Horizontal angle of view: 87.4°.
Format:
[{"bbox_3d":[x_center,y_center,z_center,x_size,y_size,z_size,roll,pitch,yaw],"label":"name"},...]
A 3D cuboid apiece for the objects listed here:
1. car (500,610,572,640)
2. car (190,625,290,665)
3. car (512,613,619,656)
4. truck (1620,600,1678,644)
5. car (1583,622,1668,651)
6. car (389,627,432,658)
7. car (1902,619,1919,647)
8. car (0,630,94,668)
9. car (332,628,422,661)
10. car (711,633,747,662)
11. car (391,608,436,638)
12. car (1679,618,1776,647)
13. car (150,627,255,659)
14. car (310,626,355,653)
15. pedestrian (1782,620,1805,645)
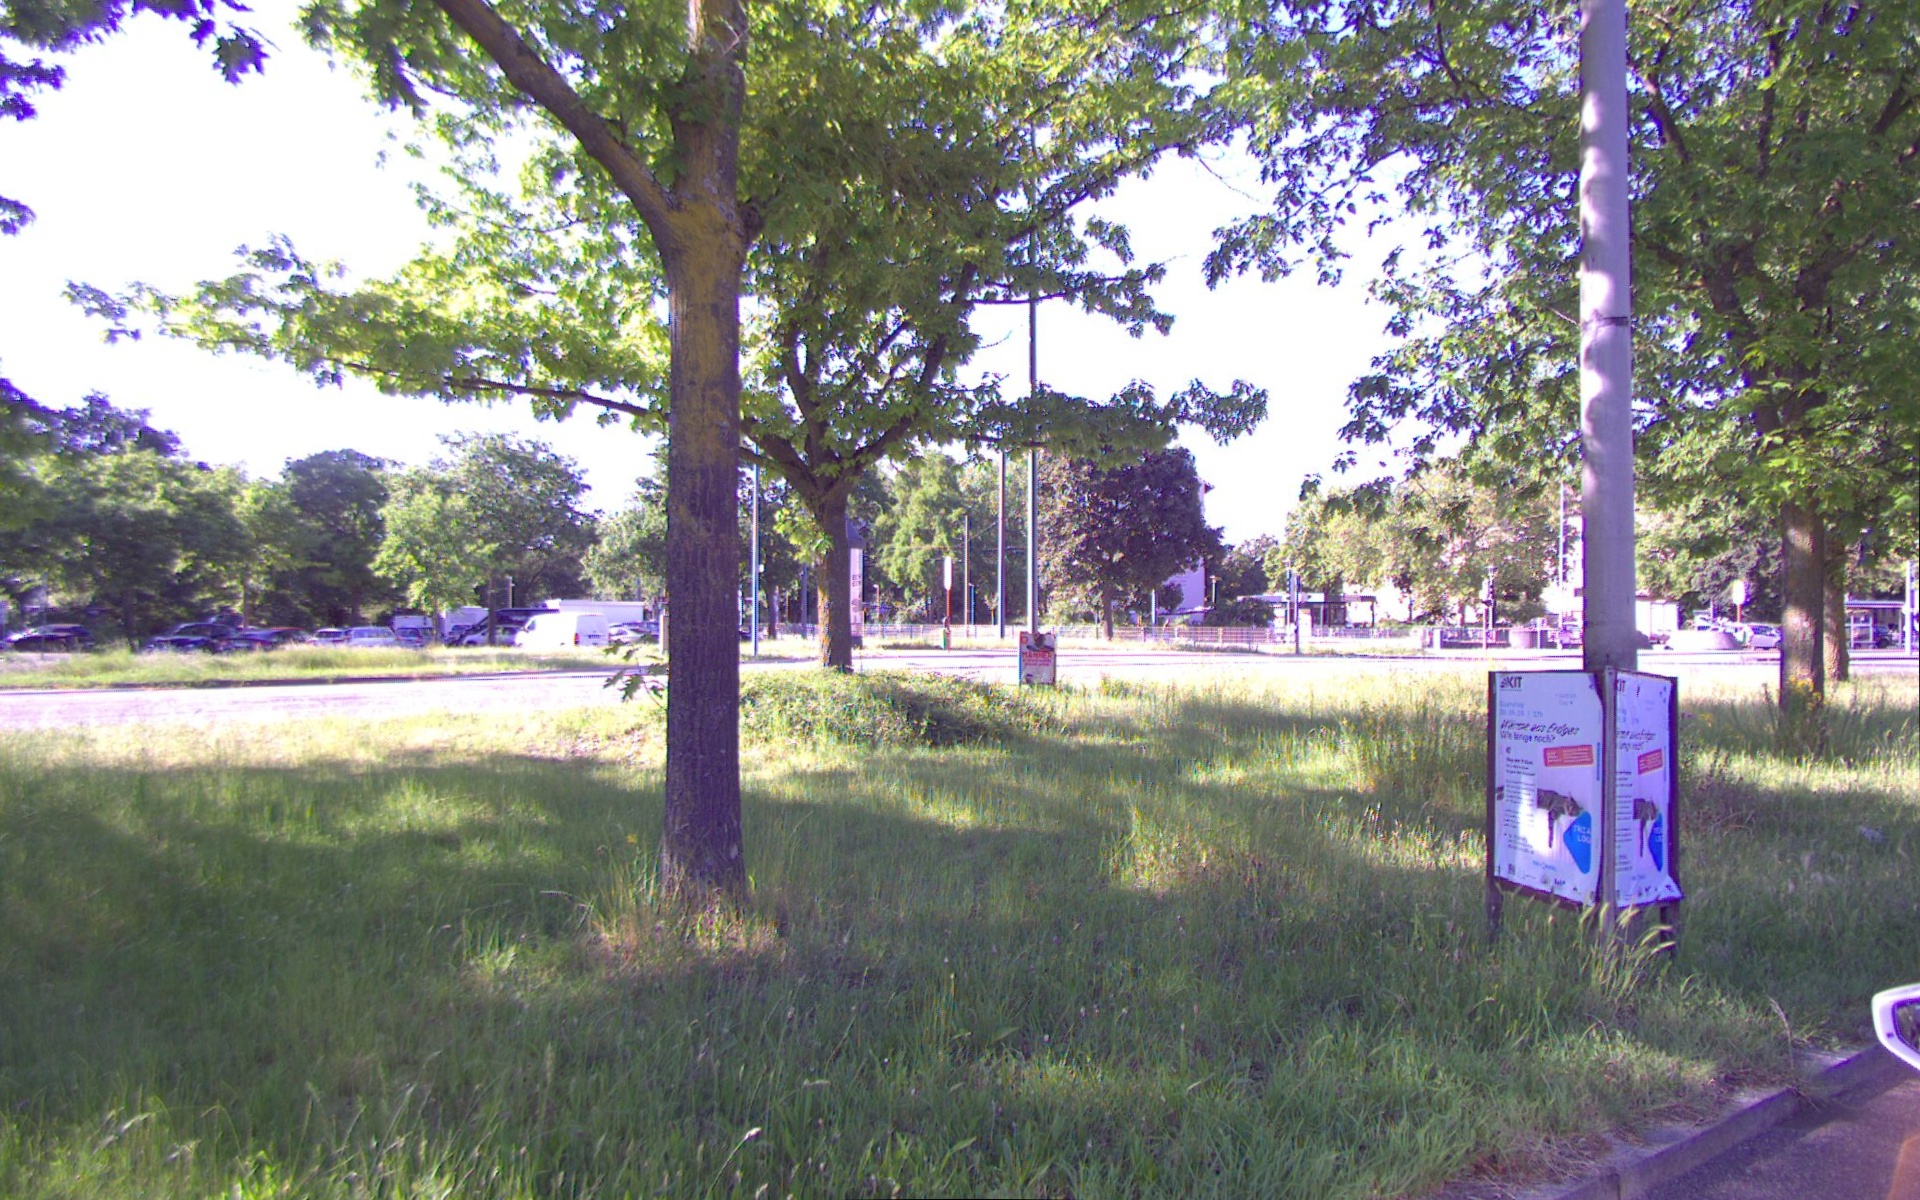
[{"bbox_3d":[-24.136,1.409,57.290,3.698,1.691,1.883,1,-1,-23],"label":"car"},{"bbox_3d":[-25.239,1.559,35.245,2.769,1.323,1.326,1,-1,-40],"label":"car"},{"bbox_3d":[-17.224,1.471,43.801,4.670,1.762,2.024,0,-1,34],"label":"car"},{"bbox_3d":[46.635,1.477,68.092,1.960,2.842,4.002,0,-1,15],"label":"truck"},{"bbox_3d":[41.411,2.248,62.567,3.919,1.706,2.001,0,-1,9],"label":"car"},{"bbox_3d":[-26.707,2.024,48.779,1.602,1.438,3.050,1,-1,-33],"label":"car"},{"bbox_3d":[71.839,2.395,73.347,1.910,2.040,4.155,1,-1,-31],"label":"car"},{"bbox_3d":[-47.665,2.491,51.904,1.966,1.817,3.990,0,-1,32],"label":"car"},{"bbox_3d":[-21.832,1.630,37.635,2.769,1.171,1.326,1,-1,-40],"label":"car"},{"bbox_3d":[-12.037,2.450,52.488,1.589,1.438,3.073,0,-1,-8],"label":"car"},{"bbox_3d":[-32.494,1.361,59.787,1.865,1.691,3.733,1,-1,-22],"label":"car"},{"bbox_3d":[46.901,1.963,61.467,4.233,1.706,2.001,0,-1,9],"label":"car"},{"bbox_3d":[-26.848,1.499,35.629,1.315,1.078,2.777,-1,-1,42],"label":"car"},{"bbox_3d":[-29.300,1.820,46.866,1.603,1.194,3.047,1,-1,-35],"label":"car"},{"bbox_3d":[53.579,2.087,64.555,0.781,1.629,0.923,0,-1,9],"label":"pedestrian"}]
